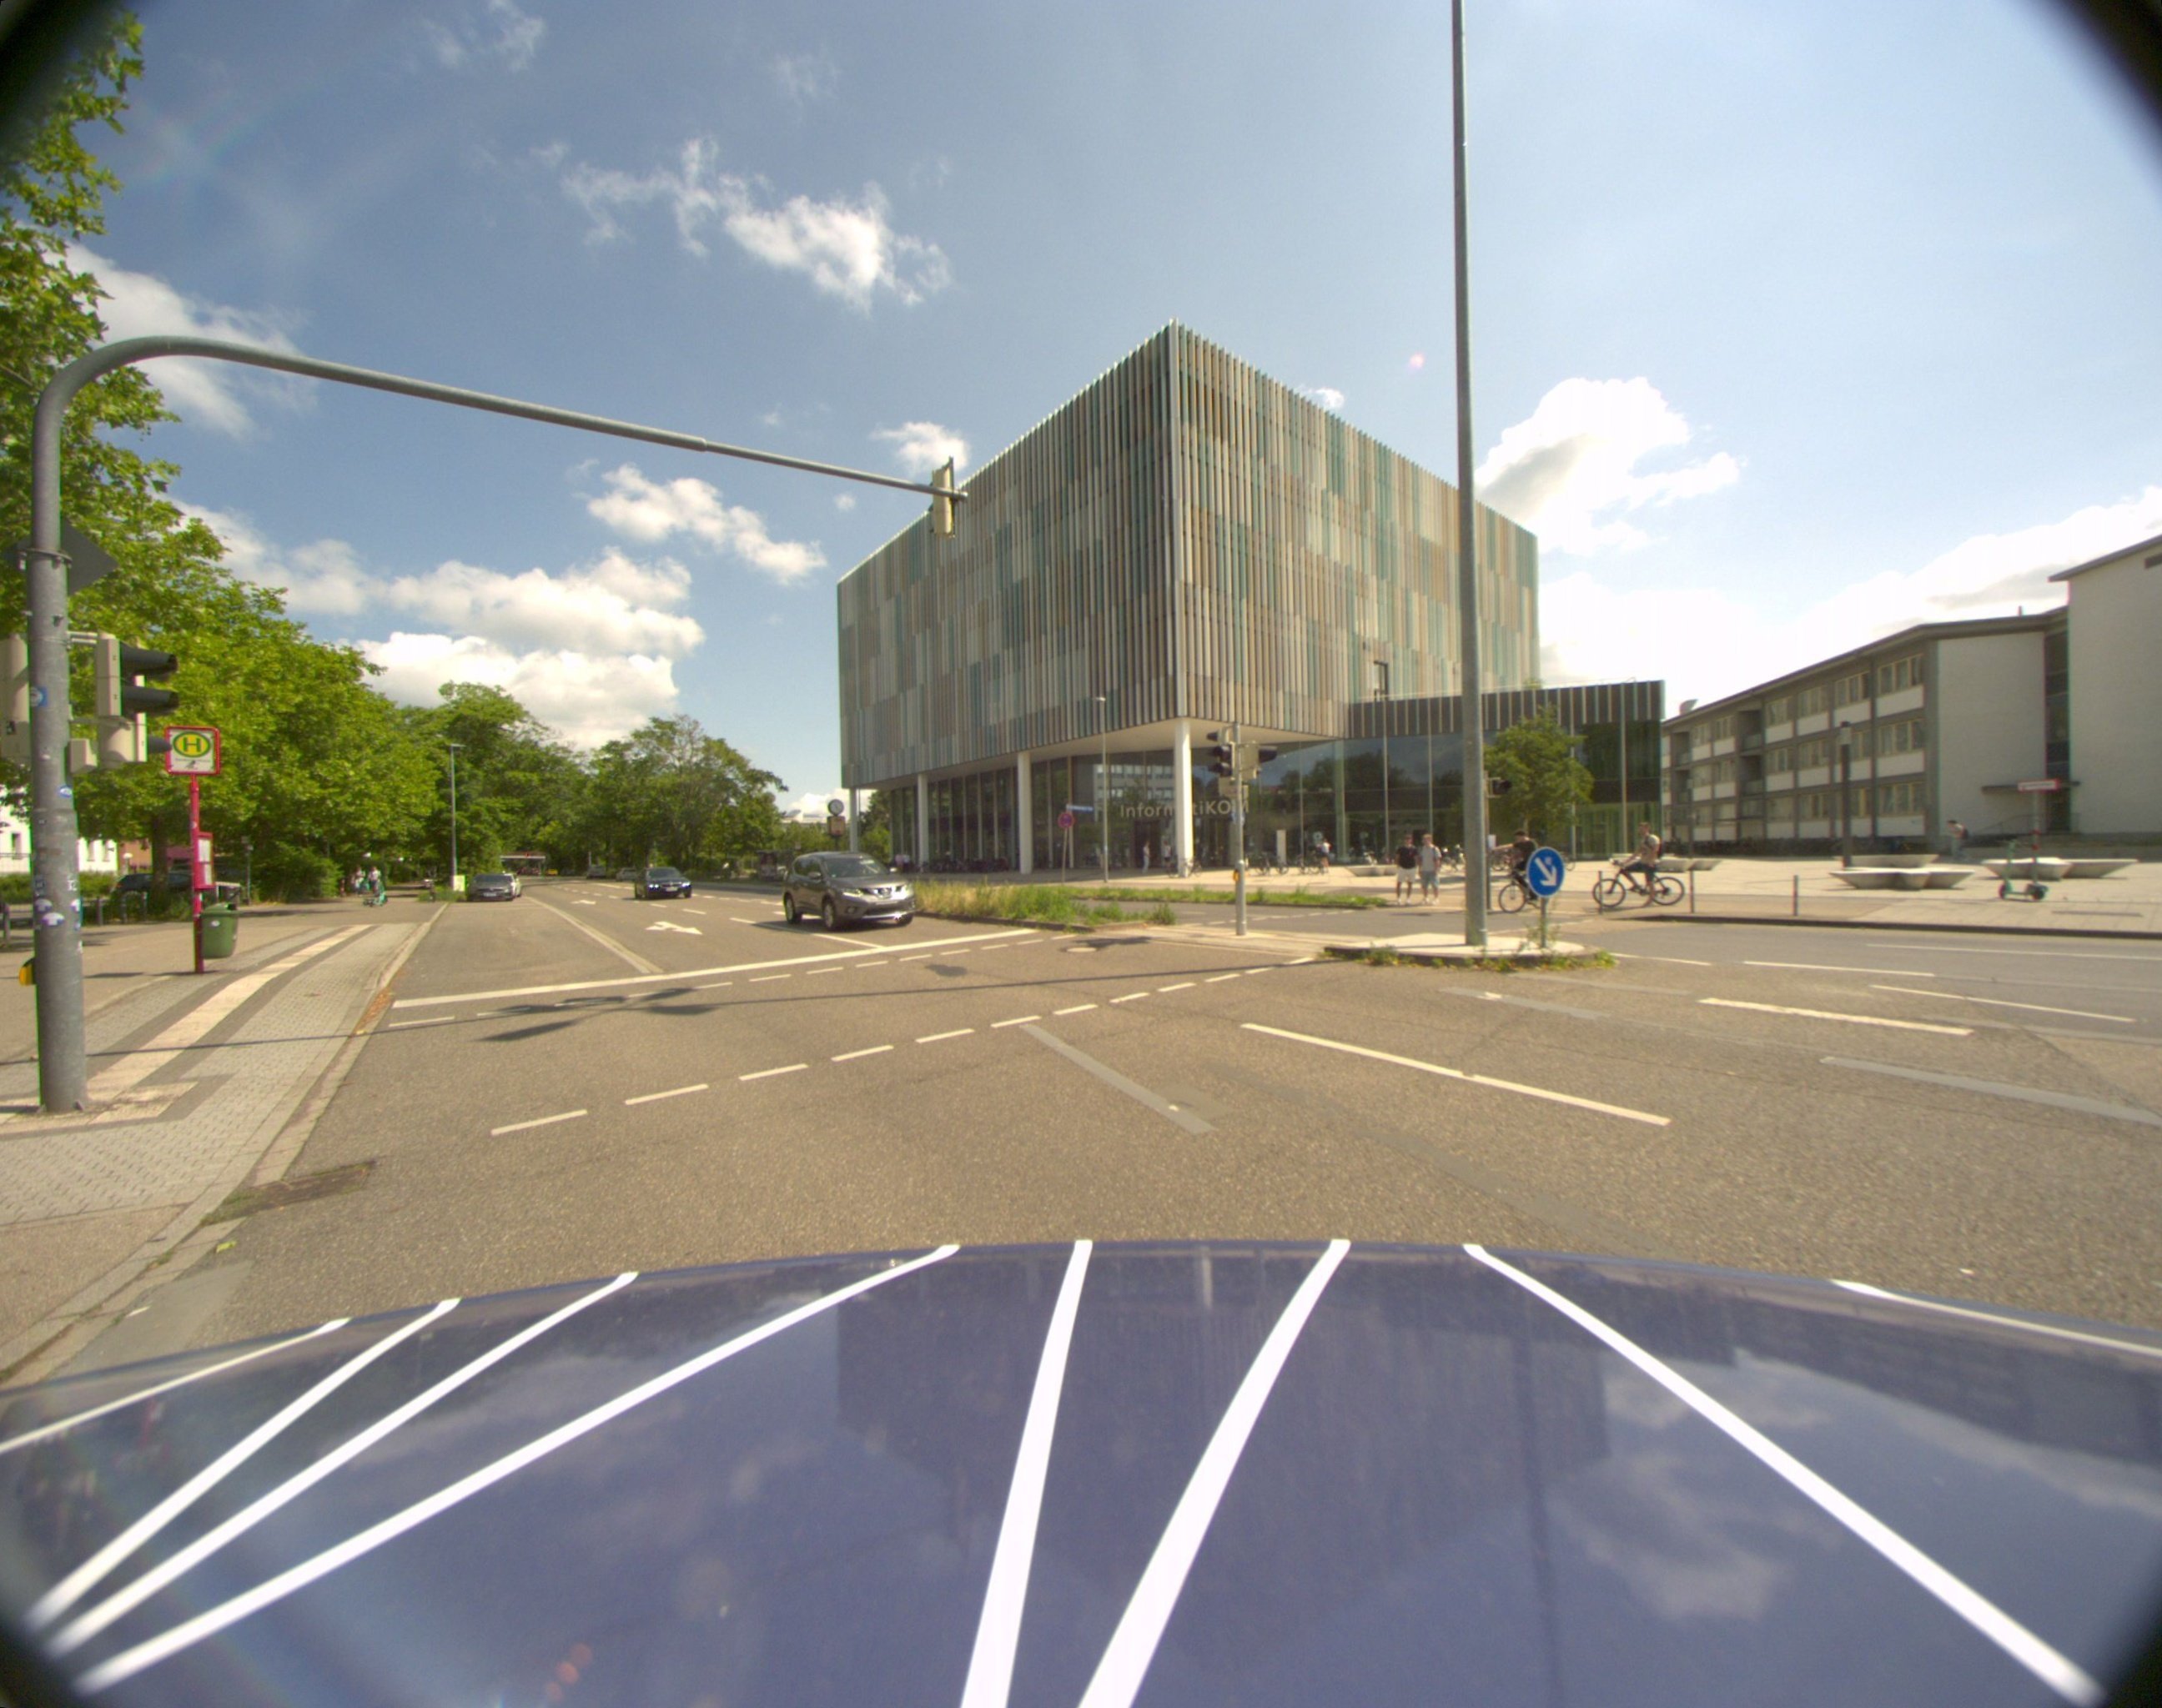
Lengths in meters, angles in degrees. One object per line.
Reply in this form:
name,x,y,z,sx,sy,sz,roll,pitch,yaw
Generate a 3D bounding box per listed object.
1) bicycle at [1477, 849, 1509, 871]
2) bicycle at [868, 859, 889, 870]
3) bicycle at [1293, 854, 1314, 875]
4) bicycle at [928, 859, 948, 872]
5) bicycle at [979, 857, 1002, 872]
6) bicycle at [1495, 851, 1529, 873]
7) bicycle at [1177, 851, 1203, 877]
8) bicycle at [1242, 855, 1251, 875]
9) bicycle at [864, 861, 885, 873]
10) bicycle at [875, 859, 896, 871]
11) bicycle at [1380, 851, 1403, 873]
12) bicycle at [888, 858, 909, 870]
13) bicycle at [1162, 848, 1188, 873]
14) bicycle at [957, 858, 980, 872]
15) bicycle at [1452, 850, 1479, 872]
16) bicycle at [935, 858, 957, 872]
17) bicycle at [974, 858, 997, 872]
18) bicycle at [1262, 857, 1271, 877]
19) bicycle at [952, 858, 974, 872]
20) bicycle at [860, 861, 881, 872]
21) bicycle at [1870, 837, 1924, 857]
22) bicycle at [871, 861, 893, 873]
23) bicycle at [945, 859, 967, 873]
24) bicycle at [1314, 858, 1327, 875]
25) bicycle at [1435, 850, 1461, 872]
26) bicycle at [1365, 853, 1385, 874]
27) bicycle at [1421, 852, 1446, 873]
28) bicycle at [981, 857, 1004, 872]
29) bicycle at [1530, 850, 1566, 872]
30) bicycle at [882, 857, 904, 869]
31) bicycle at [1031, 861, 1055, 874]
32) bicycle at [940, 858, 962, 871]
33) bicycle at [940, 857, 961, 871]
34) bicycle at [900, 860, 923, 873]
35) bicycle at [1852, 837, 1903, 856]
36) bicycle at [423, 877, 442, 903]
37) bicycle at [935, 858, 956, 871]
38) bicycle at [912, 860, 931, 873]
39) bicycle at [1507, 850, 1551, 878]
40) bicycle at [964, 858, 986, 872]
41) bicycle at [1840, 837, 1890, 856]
bicycle,19.083,0.265,35.229,0.529,0.950,1.773,-2,1,0
bicycle,-18.459,0.972,69.442,1.788,0.950,0.432,-4,2,-39
bicycle,10.991,0.494,37.520,0.527,0.950,1.776,-1,1,32
bicycle,-11.421,0.883,60.675,1.548,0.950,0.373,-3,2,-24
bicycle,-6.518,0.761,54.538,1.548,0.950,0.373,-3,2,-24
bicycle,19.812,0.369,34.933,0.529,0.950,1.773,-2,1,0
bicycle,5.561,0.501,38.759,1.549,1.180,0.372,-4,3,-40
bicycle,8.380,0.533,38.421,0.373,0.950,1.548,-1,1,13
bicycle,-19.019,1.215,70.116,1.788,0.950,0.432,-4,2,-39
bicycle,-17.515,0.955,68.052,1.788,0.950,0.432,-4,2,-39
bicycle,14.897,0.392,36.502,0.528,0.950,1.774,-4,1,8
bicycle,-15.908,0.882,66.241,1.788,0.950,0.432,-4,2,-39
bicycle,4.861,0.328,39.230,1.549,1.180,0.372,-3,3,-40
bicycle,-8.328,0.832,56.210,1.548,0.950,0.373,-3,2,-24
bicycle,18.197,0.326,35.985,0.528,0.950,1.774,-2,1,6
bicycle,-10.545,0.846,59.318,1.548,0.950,0.373,-3,2,-24
bicycle,-6.906,0.798,55.108,1.548,0.950,0.373,-3,2,-24
bicycle,9.320,0.644,38.186,0.373,0.950,1.775,-1,1,13
bicycle,-8.810,0.804,56.691,1.548,0.950,0.373,-3,2,-24
bicycle,-19.627,1.154,70.809,1.788,0.950,0.432,-4,2,-39
bicycle,40.728,-0.334,37.955,1.769,0.950,0.530,-1,3,26
bicycle,-18.072,1.203,69.001,1.788,0.950,0.432,-4,2,-39
bicycle,-9.466,0.894,57.682,1.548,0.950,0.373,-3,2,-24
bicycle,11.730,0.588,37.173,0.528,0.759,1.775,-1,1,19
bicycle,17.458,0.317,36.215,0.528,0.950,1.774,-2,1,6
bicycle,14.034,0.446,36.297,0.528,0.950,1.774,-2,2,8
bicycle,16.830,0.409,36.295,0.528,0.950,1.774,-2,1,6
bicycle,-6.289,0.729,54.002,1.548,0.950,0.373,-3,2,-24
bicycle,21.108,0.313,34.388,0.529,0.950,1.773,-2,1,0
bicycle,-16.549,0.830,66.971,1.788,0.950,0.432,-4,2,-39
bicycle,-2.503,0.878,50.300,1.549,0.771,0.372,-4,2,-35
bicycle,-9.969,0.787,58.368,1.548,0.950,0.373,-3,2,-24
bicycle,-10.095,0.769,58.847,1.548,0.950,0.373,-3,2,-24
bicycle,-14.347,1.048,64.351,1.788,0.950,0.432,-4,2,-39
bicycle,41.098,-0.385,39.219,1.769,0.950,0.530,-1,3,23
bicycle,-30.727,1.676,36.006,0.641,1.183,2.113,0,-1,-39
bicycle,-10.647,0.844,59.732,1.548,0.950,0.373,-3,2,-24
bicycle,-12.762,0.968,60.677,0.372,0.950,1.549,-1,2,41
bicycle,16.076,0.351,27.324,0.529,0.950,1.773,-2,1,0
bicycle,-7.785,0.791,55.924,1.548,0.950,0.373,-3,2,-24
bicycle,41.429,-0.377,40.155,1.769,0.950,0.530,-1,3,23
